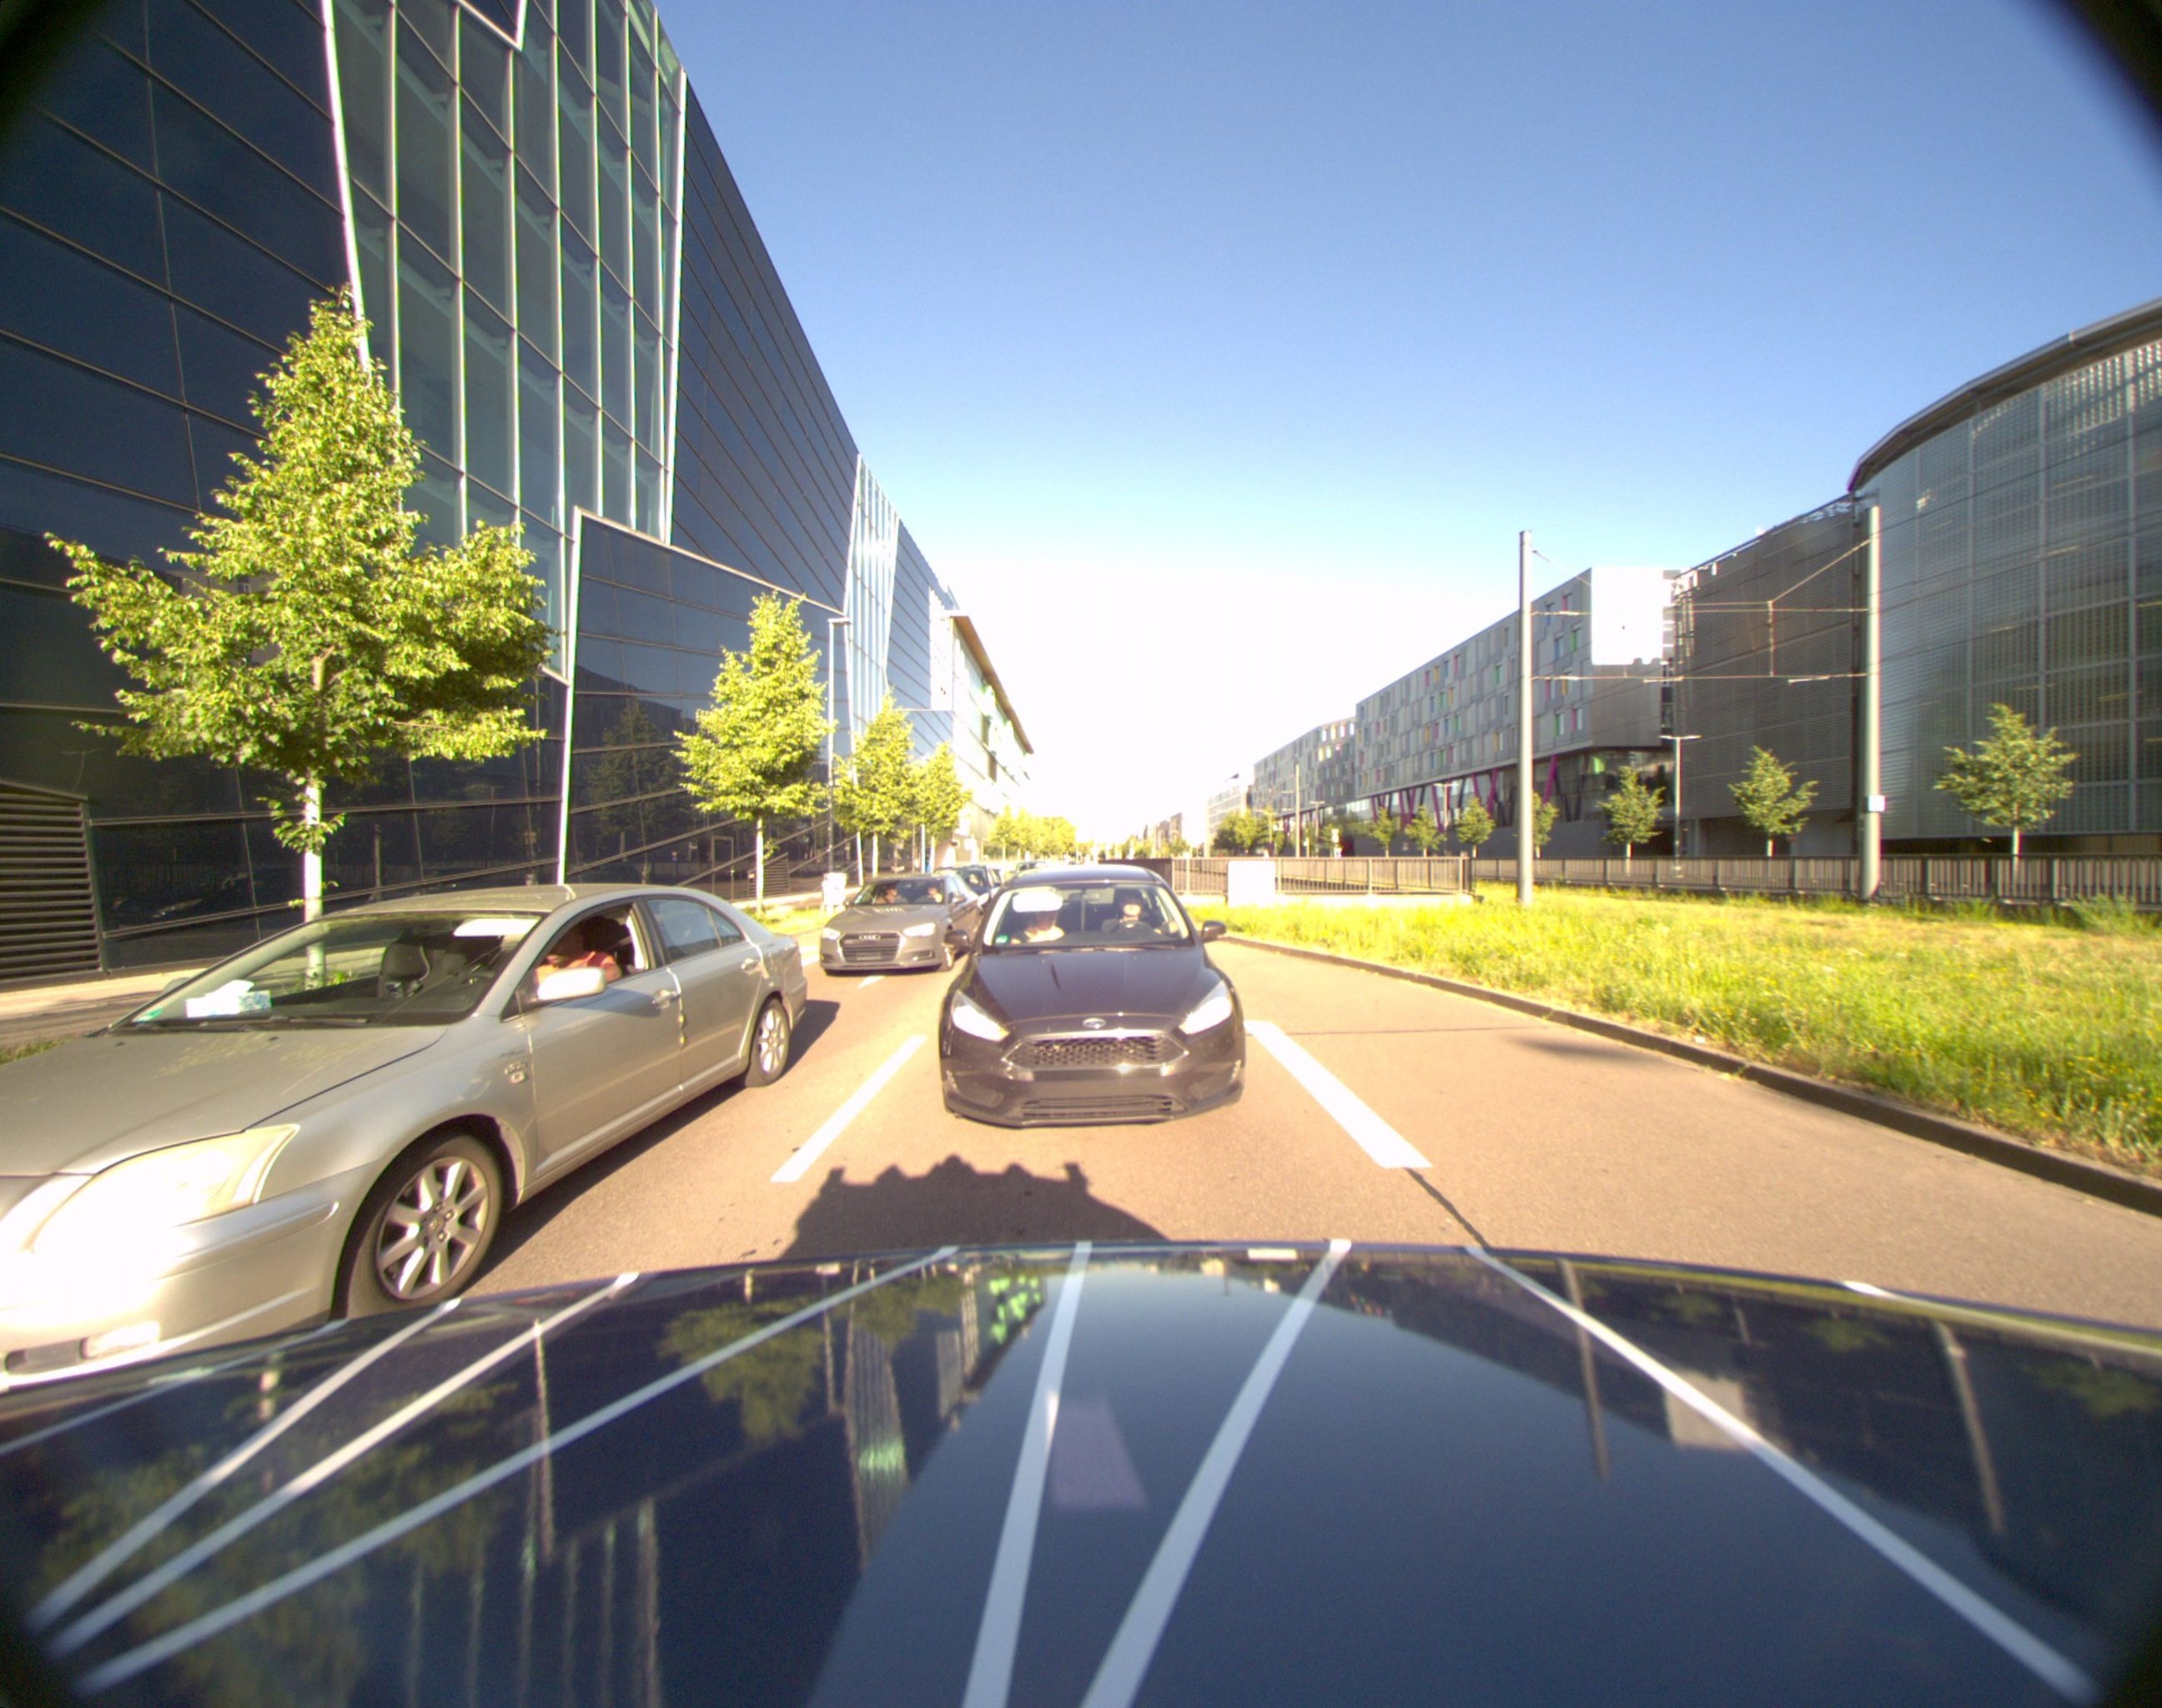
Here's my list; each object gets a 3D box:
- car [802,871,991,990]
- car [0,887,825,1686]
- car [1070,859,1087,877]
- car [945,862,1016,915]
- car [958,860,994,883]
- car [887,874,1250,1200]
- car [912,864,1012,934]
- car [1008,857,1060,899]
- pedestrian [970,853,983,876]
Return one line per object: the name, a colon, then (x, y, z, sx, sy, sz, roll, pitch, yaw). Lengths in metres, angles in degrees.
car: (-2.650, 1.046, 12.017, 1.750, 1.384, 4.264, -2, 0, 2)
car: (-3.042, 1.025, 3.931, 1.750, 1.473, 4.628, -1, 0, 1)
car: (-0.262, 1.613, 90.947, 1.998, 2.002, 4.000, -2, 1, 0)
car: (-3.097, 1.039, 24.011, 1.753, 1.469, 3.418, -2, 0, 0)
car: (-7.090, 1.157, 51.724, 1.740, 1.489, 4.715, 1, 0, 0)
car: (-0.050, 0.982, 6.127, 1.787, 1.499, 4.590, -2, 0, 0)
car: (-2.793, 1.014, 18.647, 1.753, 1.469, 3.972, -2, 0, 0)
car: (-1.915, 0.958, 32.320, 1.907, 1.612, 4.000, 0, 0, 1)
pedestrian: (-8.708, 0.883, 63.496, 0.828, 1.814, 0.905, 3, 0, 0)
